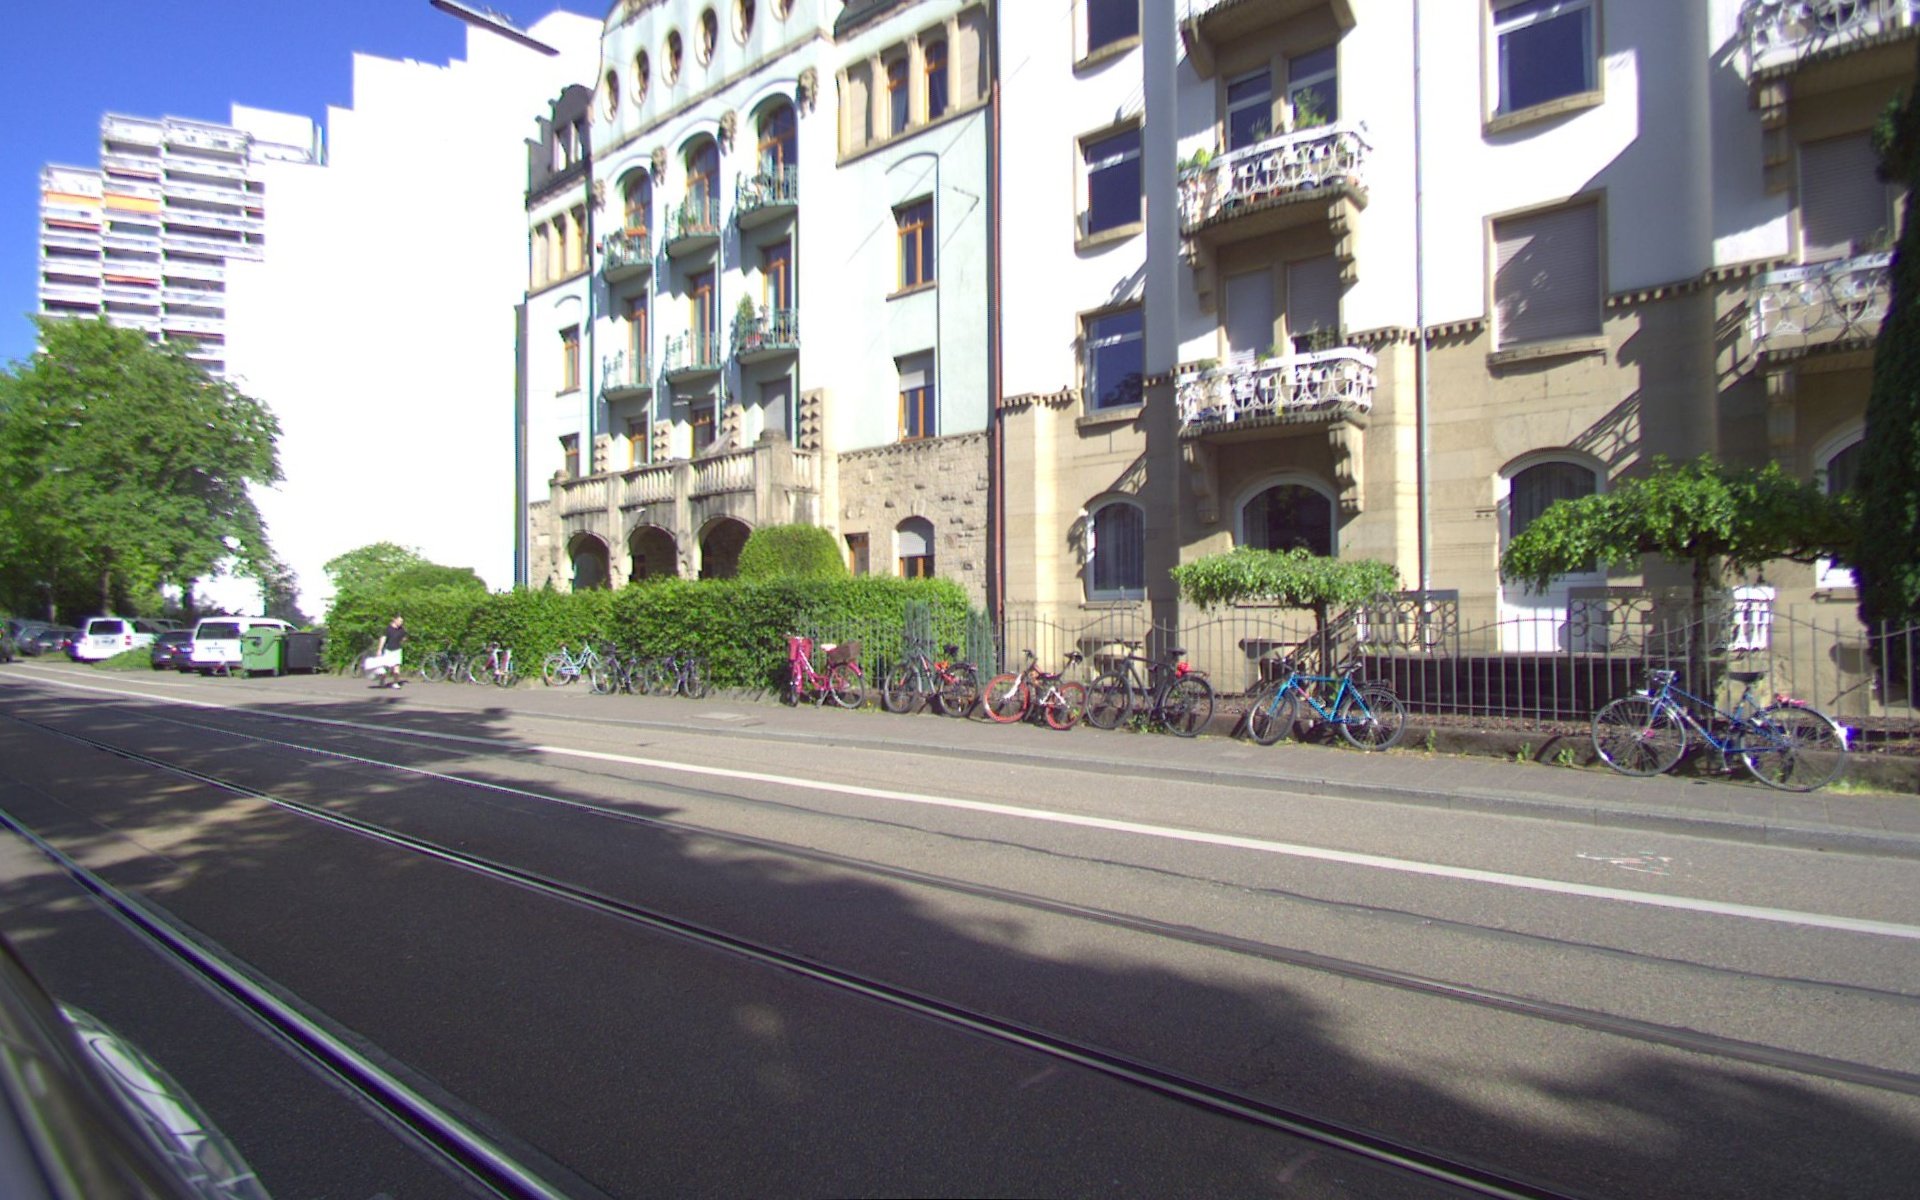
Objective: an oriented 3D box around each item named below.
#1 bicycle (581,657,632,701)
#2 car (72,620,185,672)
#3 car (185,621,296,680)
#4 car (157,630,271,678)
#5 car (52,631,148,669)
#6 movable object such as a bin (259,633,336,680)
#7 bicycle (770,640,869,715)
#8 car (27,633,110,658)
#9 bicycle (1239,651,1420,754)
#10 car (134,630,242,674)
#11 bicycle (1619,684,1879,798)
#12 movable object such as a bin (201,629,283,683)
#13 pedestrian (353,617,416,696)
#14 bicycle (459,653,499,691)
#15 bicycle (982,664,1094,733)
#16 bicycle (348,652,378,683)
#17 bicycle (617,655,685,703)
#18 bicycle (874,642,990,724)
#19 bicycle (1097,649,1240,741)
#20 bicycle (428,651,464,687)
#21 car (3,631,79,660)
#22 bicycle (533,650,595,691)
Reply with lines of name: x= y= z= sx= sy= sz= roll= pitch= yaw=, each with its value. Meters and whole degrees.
bicycle: x=-6.722 y=1.483 z=19.217 sx=1.263 sy=0.767 sz=0.335 roll=-1 pitch=0 yaw=41
car: x=-33.294 y=1.794 z=40.646 sx=1.894 sy=1.885 sz=3.447 roll=-1 pitch=0 yaw=-4
car: x=-22.828 y=1.614 z=32.232 sx=1.438 sy=1.787 sz=3.189 roll=-1 pitch=-3 yaw=-5
car: x=-25.131 y=1.797 z=34.162 sx=1.451 sy=1.446 sz=2.734 roll=-1 pitch=0 yaw=24
car: x=-36.168 y=2.083 z=42.591 sx=1.451 sy=1.446 sz=2.734 roll=-1 pitch=0 yaw=24
movable object such as a bin: x=-20.460 y=1.717 z=31.261 sx=2.095 sy=1.326 sz=1.482 roll=-1 pitch=0 yaw=41
bicycle: x=-2.161 y=1.155 z=15.440 sx=1.815 sy=1.031 sz=0.400 roll=-1 pitch=0 yaw=41
car: x=-42.926 y=2.178 z=48.769 sx=1.220 sy=1.097 sz=2.734 roll=-1 pitch=0 yaw=24
bicycle: x=3.832 y=1.038 z=10.604 sx=1.748 sy=0.949 sz=0.400 roll=-1 pitch=0 yaw=41
car: x=-27.687 y=1.830 z=36.351 sx=1.451 sy=1.446 sz=2.734 roll=-1 pitch=0 yaw=24
bicycle: x=6.413 y=1.118 z=8.306 sx=1.651 sy=0.767 sz=0.314 roll=-1 pitch=0 yaw=41
movable object such as a bin: x=-20.813 y=1.589 z=29.338 sx=2.095 sy=1.443 sz=1.493 roll=-1 pitch=0 yaw=41
pedestrian: x=-12.781 y=1.233 z=22.480 sx=0.870 sy=1.640 sz=0.858 roll=-1 pitch=4 yaw=41
bicycle: x=-10.609 y=1.582 z=22.323 sx=1.263 sy=0.767 sz=0.314 roll=-1 pitch=0 yaw=41
bicycle: x=0.971 y=1.225 z=12.857 sx=1.542 sy=0.767 sz=0.314 roll=-1 pitch=0 yaw=41
bicycle: x=-15.642 y=1.759 z=26.494 sx=1.263 sy=0.767 sz=0.293 roll=-1 pitch=0 yaw=41
bicycle: x=-5.579 y=1.405 z=18.240 sx=1.581 sy=0.767 sz=0.400 roll=-1 pitch=0 yaw=41
bicycle: x=-0.408 y=1.117 z=14.032 sx=1.815 sy=1.031 sz=0.400 roll=-1 pitch=0 yaw=41
bicycle: x=2.400 y=1.079 z=11.782 sx=1.648 sy=0.949 sz=0.400 roll=-1 pitch=0 yaw=41
bicycle: x=-11.953 y=1.599 z=23.505 sx=1.263 sy=0.767 sz=0.293 roll=-1 pitch=0 yaw=41
car: x=-48.449 y=2.377 z=53.376 sx=1.220 sy=1.436 sz=2.734 roll=-1 pitch=0 yaw=24
bicycle: x=-8.572 y=1.519 z=21.943 sx=0.297 sy=0.799 sz=1.246 roll=-1 pitch=0 yaw=41
